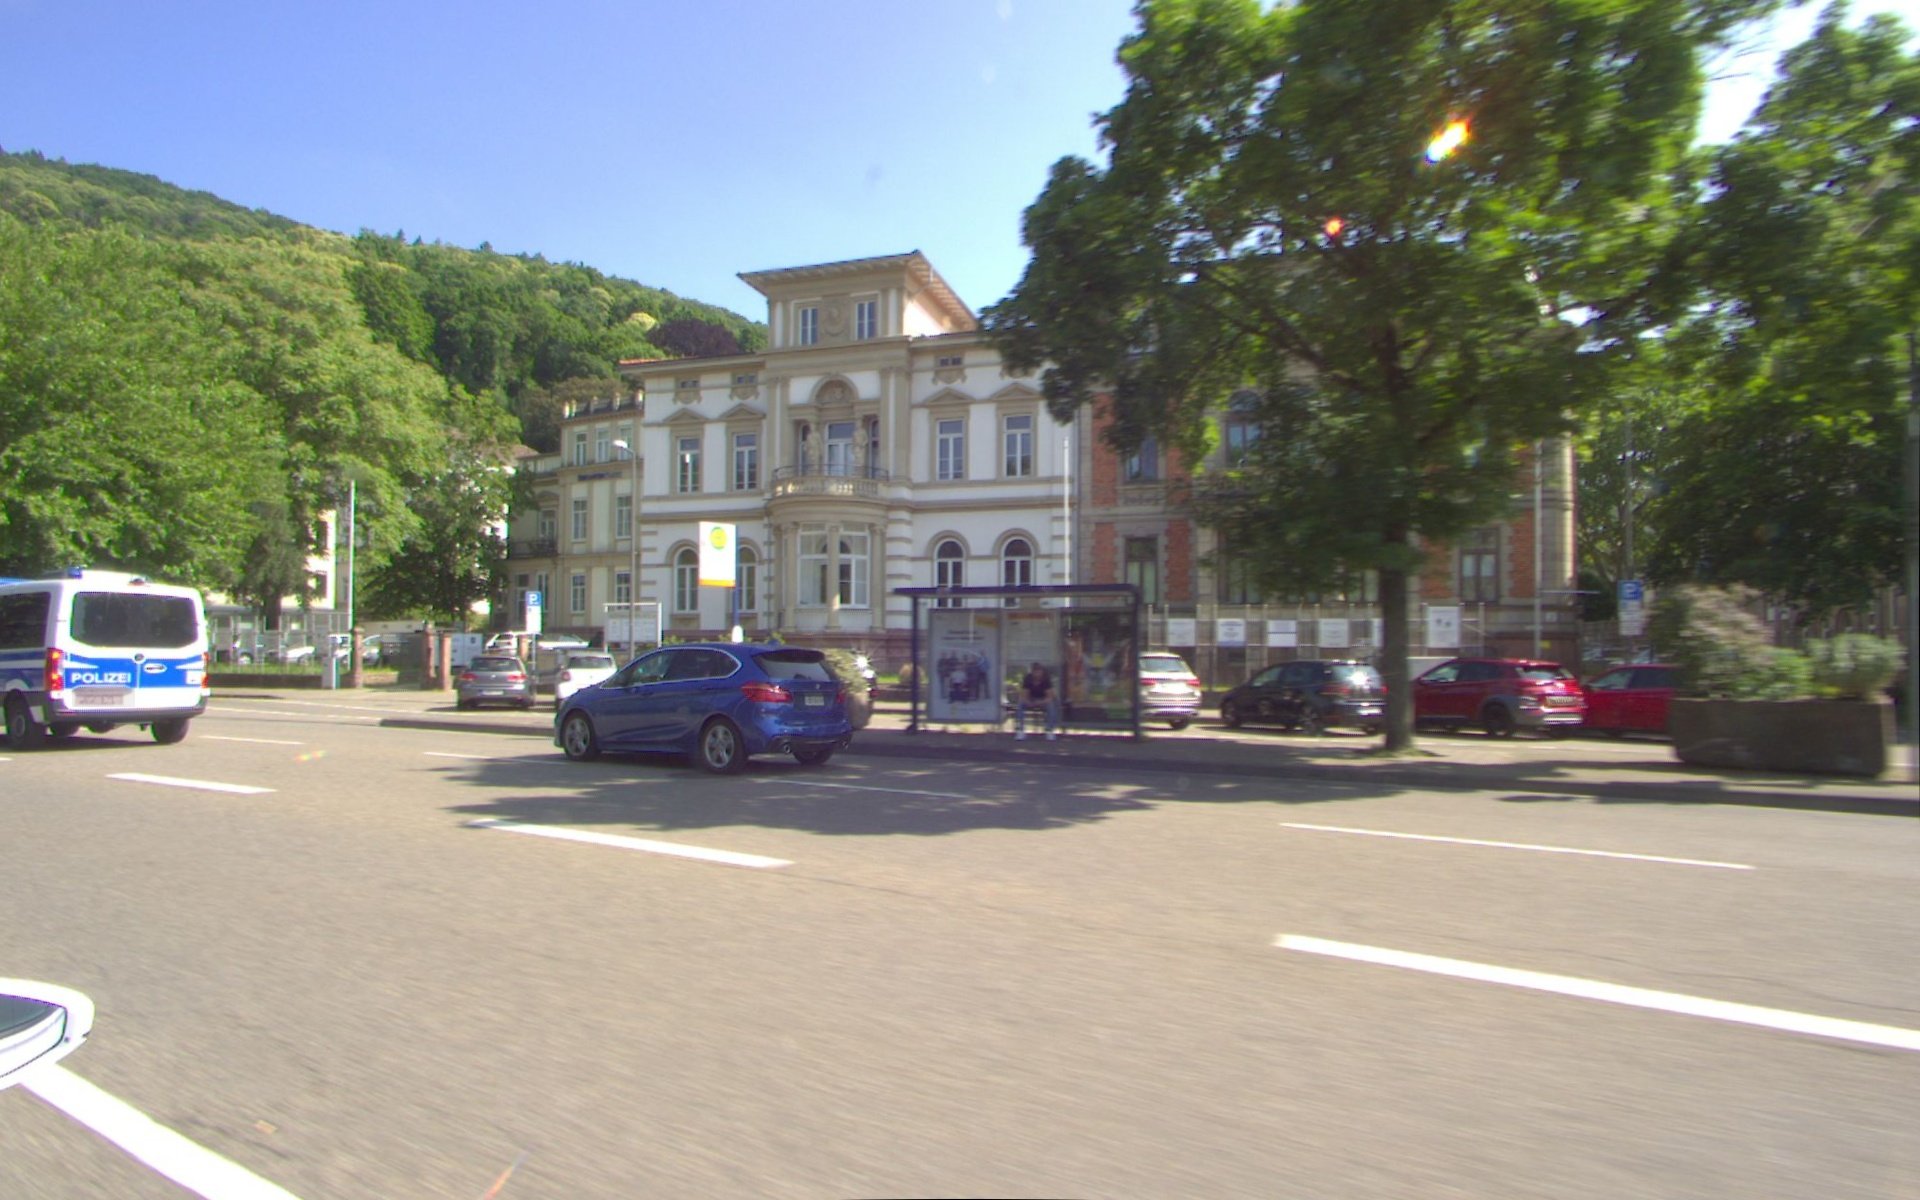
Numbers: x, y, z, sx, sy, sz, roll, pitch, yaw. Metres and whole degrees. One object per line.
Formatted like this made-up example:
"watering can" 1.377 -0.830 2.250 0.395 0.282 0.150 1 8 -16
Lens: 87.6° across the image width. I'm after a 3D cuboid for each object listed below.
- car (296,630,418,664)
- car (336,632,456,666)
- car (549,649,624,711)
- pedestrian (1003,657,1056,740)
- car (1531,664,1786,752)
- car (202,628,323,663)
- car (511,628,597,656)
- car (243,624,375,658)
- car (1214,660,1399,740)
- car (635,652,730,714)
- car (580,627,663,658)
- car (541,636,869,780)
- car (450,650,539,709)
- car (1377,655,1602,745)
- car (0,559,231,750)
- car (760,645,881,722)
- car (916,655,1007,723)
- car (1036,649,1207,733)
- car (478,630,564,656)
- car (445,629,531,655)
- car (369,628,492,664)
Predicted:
"car" -25.120 1.934 41.881 1.791 1.353 4.088 -1 -2 24
"car" -23.108 1.989 41.194 1.830 1.353 4.044 -1 -2 24
"car" -10.155 2.100 27.079 1.686 1.530 3.801 2 -3 -23
"pedestrian" 1.089 1.496 15.448 0.776 1.212 1.022 0 -2 6
"car" 13.201 1.982 19.186 1.720 1.436 3.694 1 -3 -20
"car" -31.472 2.044 45.319 1.846 1.494 4.148 -1 -2 21
"car" -21.110 2.183 52.226 1.791 1.437 4.052 -1 -2 24
"car" -27.567 1.747 42.596 1.791 1.353 4.470 -1 -2 24
"car" 7.004 1.987 20.665 1.579 1.434 3.813 1 -3 -20
"car" -7.285 2.110 26.100 1.688 1.460 3.798 2 -3 -26
"car" -17.343 2.167 51.471 1.834 1.528 4.052 -1 -2 24
"car" -3.362 1.284 12.942 4.212 1.560 1.716 -1 -4 34
"car" -12.627 2.108 27.398 1.797 1.479 4.100 1 -3 -20
"car" 10.491 1.929 20.167 1.720 1.594 3.870 1 -3 -20
"car" -13.716 0.824 15.293 4.850 2.539 2.074 -1 -3 25
"car" -3.529 1.977 24.722 1.688 1.717 4.259 2 -3 -26
"car" -0.004 2.055 23.619 1.184 1.501 2.278 2 -3 -29
"car" 3.448 1.923 22.219 1.686 1.650 4.303 2 -3 -24
"car" -23.443 2.295 53.617 1.791 1.353 4.079 -1 -2 24
"car" -25.590 2.282 54.455 1.791 1.353 4.044 -1 -2 24
"car" -21.112 1.834 40.082 1.958 1.353 4.044 -1 -2 24
